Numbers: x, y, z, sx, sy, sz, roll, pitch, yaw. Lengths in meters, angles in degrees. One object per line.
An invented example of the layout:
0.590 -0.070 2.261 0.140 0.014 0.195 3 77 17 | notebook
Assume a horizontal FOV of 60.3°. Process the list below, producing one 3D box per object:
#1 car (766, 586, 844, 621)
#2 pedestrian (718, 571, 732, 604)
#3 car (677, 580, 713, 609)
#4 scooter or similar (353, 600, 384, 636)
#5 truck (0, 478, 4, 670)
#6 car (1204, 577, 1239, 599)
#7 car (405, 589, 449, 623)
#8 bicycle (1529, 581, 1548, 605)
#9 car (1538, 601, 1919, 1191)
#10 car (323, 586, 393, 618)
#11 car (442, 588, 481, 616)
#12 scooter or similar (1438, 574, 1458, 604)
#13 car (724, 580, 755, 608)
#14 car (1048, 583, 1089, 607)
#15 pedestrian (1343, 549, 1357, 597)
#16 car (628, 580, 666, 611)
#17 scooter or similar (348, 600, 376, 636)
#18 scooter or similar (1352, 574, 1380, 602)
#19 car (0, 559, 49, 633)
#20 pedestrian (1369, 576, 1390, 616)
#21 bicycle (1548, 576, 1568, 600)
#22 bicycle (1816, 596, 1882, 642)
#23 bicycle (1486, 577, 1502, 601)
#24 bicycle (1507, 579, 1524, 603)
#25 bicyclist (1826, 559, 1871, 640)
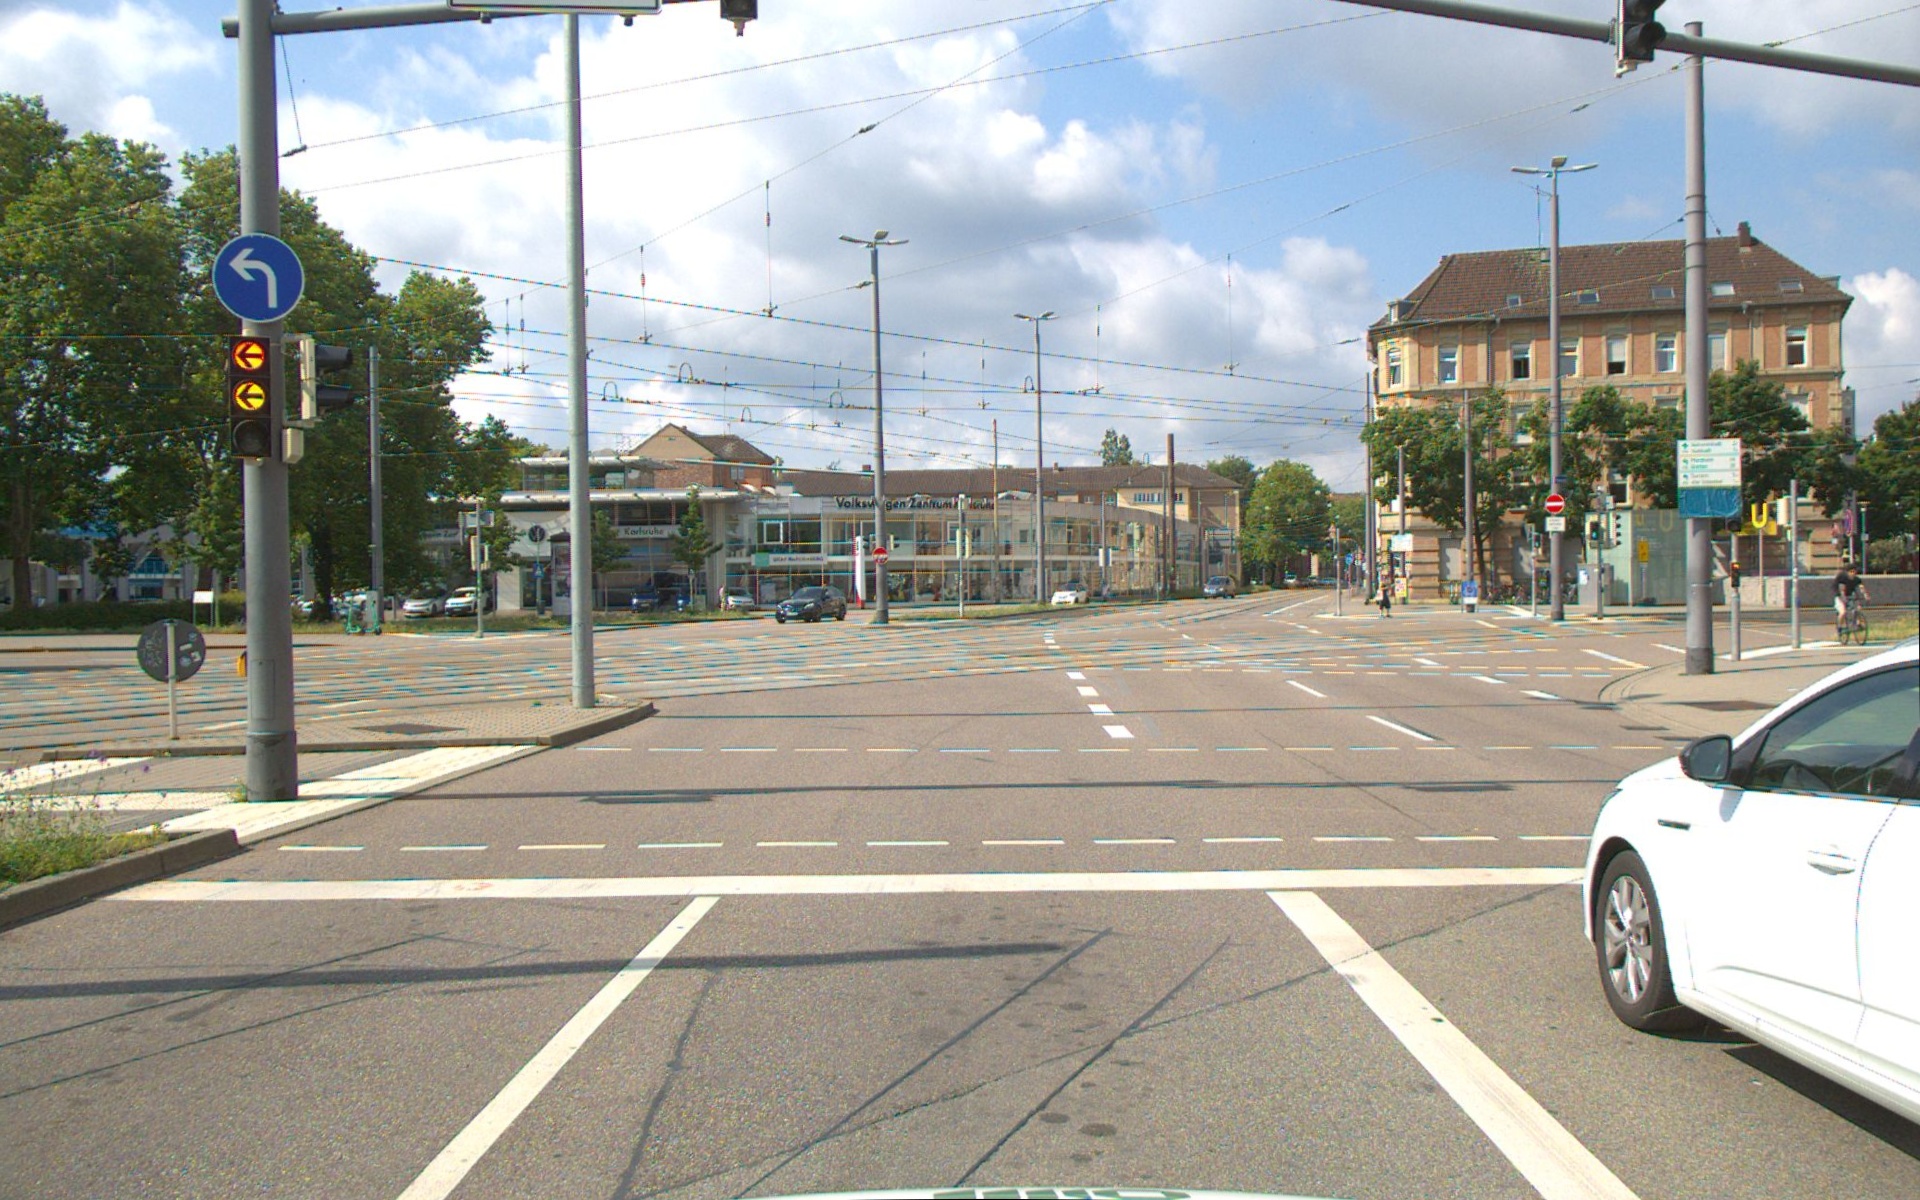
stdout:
-6.421 0.127 68.991 1.825 1.400 3.942 -1 0 18 | car
-14.588 -0.778 102.640 0.853 2.049 0.702 -1 0 -9 | pedestrian
-16.685 -0.322 104.285 1.955 1.756 3.995 1 0 -6 | car
-20.570 0.630 57.498 1.040 1.217 0.381 1 -1 26 | scooter or similar
-24.261 -0.620 33.562 7.885 4.079 2.835 1 -1 -4 | truck
20.451 -0.949 129.216 1.952 1.601 3.738 -1 0 20 | car
-33.782 0.408 104.968 1.956 2.049 3.992 2 -1 -9 | car
29.199 -0.357 83.501 0.743 1.186 2.686 1 0 17 | bicycle
3.240 0.745 4.484 1.721 1.454 4.674 1 0 0 | car
-40.657 0.143 111.807 3.903 2.049 2.001 1 0 4 | car
-31.752 0.111 105.414 1.752 1.712 3.992 -1 1 -9 | car
24.887 -0.568 84.383 0.859 1.508 2.016 -1 0 15 | scooter or similar
-14.177 -0.382 106.183 1.893 1.713 3.991 1 0 -9 | car
7.027 -0.301 106.699 1.650 1.495 3.657 1 0 20 | car
25.860 -1.782 109.689 0.710 3.130 0.887 1 -1 24 | pedestrian
-19.803 -0.254 104.778 1.955 1.870 3.996 -2 0 -5 | car
-20.564 0.614 56.885 1.044 1.217 0.380 0 -1 37 | scooter or similar
21.144 -0.634 86.143 1.151 1.410 2.806 1 0 9 | scooter or similar
-41.561 -0.147 71.718 1.961 3.096 7.217 -1 0 -16 | car
16.405 -0.167 64.691 0.725 1.542 0.544 -1 0 23 | pedestrian
30.132 -0.591 83.369 0.743 1.186 2.687 -1 0 17 | bicycle
18.997 0.391 35.384 0.742 0.890 1.811 -3 0 12 | bicycle
27.241 -0.579 84.399 0.743 1.186 2.687 -1 0 17 | bicycle
28.212 -0.459 84.052 0.743 1.186 2.687 0 1 17 | bicycle
18.993 -0.018 35.351 0.565 1.701 0.938 -2 0 12 | bicyclist
